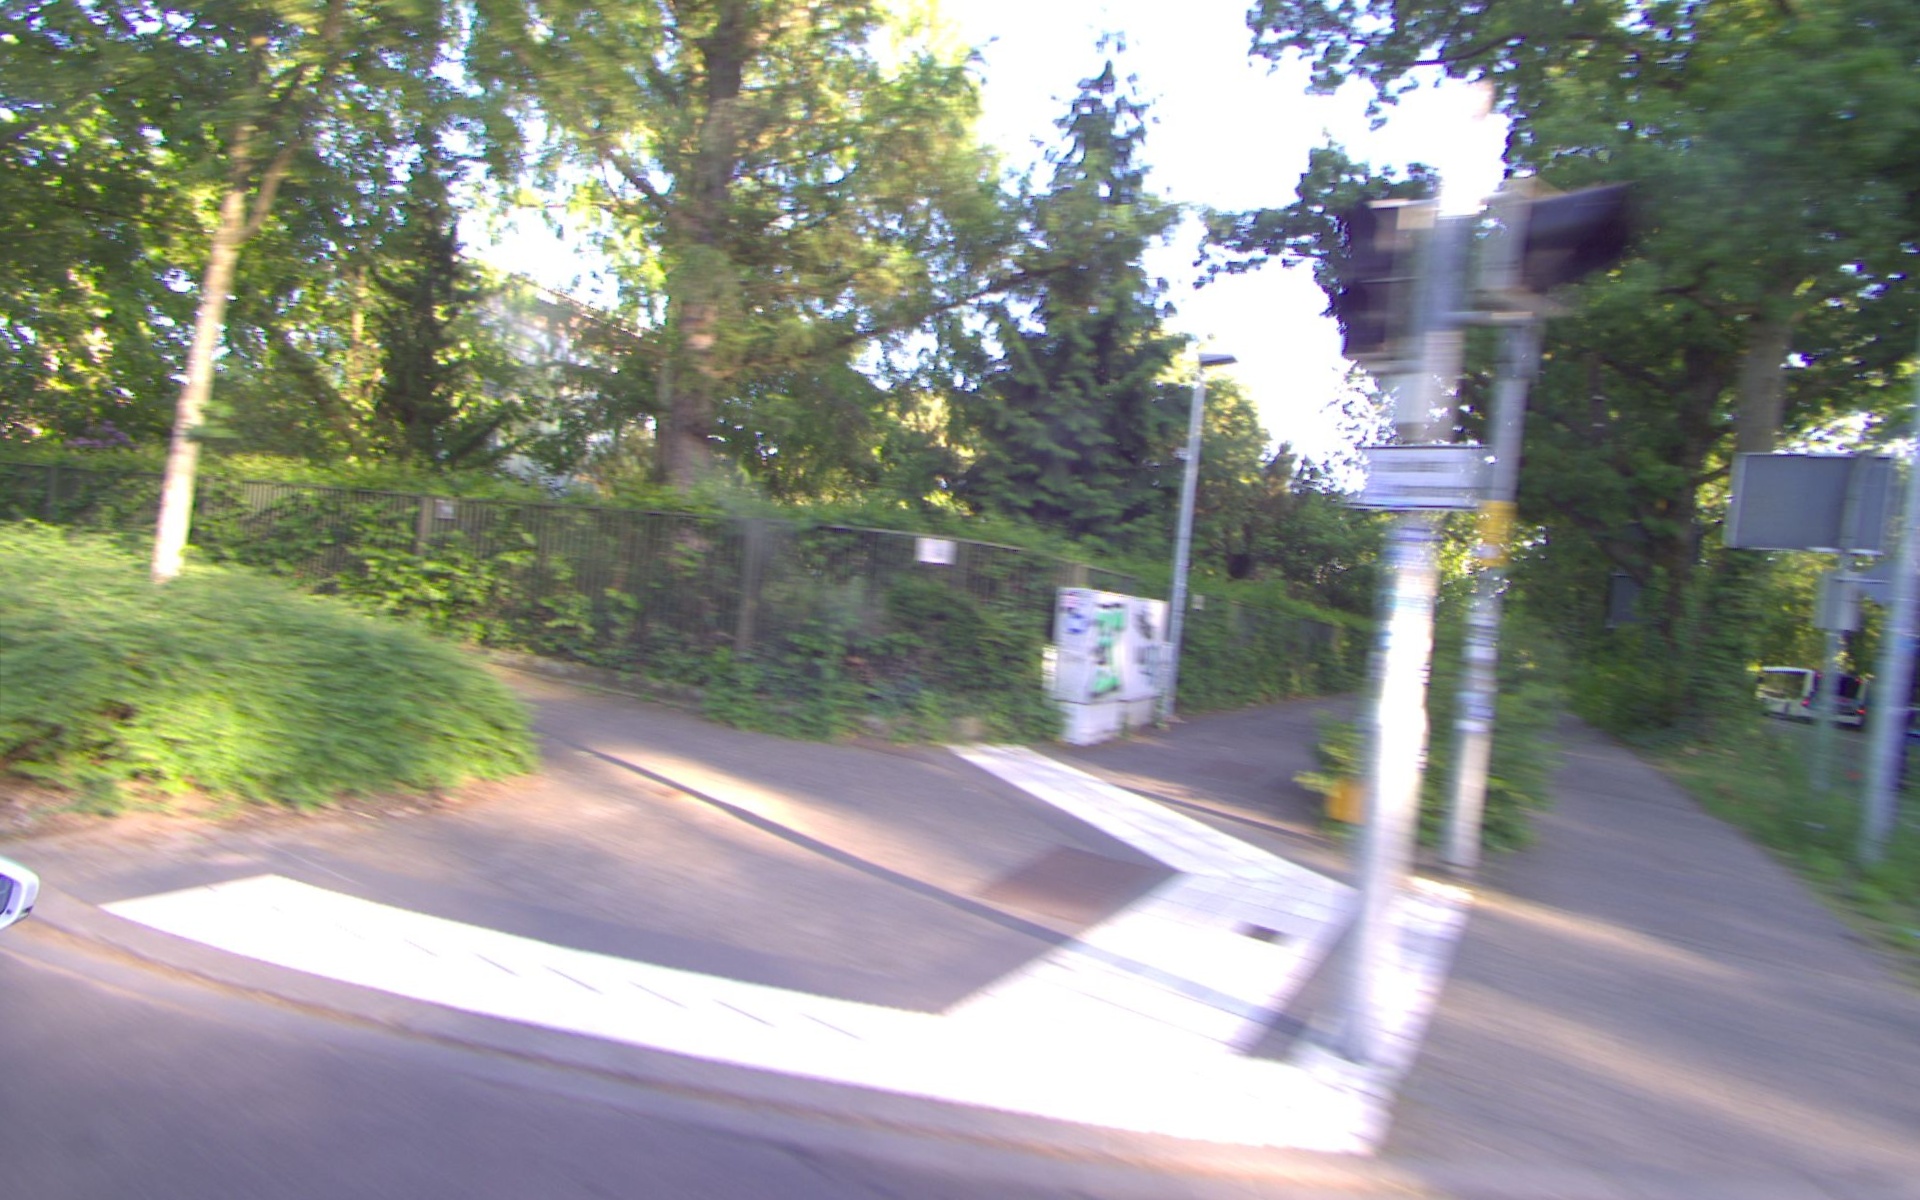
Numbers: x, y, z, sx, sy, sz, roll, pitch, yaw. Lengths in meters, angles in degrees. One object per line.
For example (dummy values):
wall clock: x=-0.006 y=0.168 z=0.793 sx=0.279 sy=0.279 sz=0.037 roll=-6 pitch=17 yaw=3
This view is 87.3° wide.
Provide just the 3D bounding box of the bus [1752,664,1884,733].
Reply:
bus: x=49.319 y=5.482 z=58.297 sx=2.970 sy=3.126 sz=12.248 roll=9 pitch=1 yaw=29

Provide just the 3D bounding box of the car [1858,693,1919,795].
car: x=17.223 y=2.520 z=17.202 sx=1.782 sy=1.599 sz=4.311 roll=4 pitch=-1 yaw=29
